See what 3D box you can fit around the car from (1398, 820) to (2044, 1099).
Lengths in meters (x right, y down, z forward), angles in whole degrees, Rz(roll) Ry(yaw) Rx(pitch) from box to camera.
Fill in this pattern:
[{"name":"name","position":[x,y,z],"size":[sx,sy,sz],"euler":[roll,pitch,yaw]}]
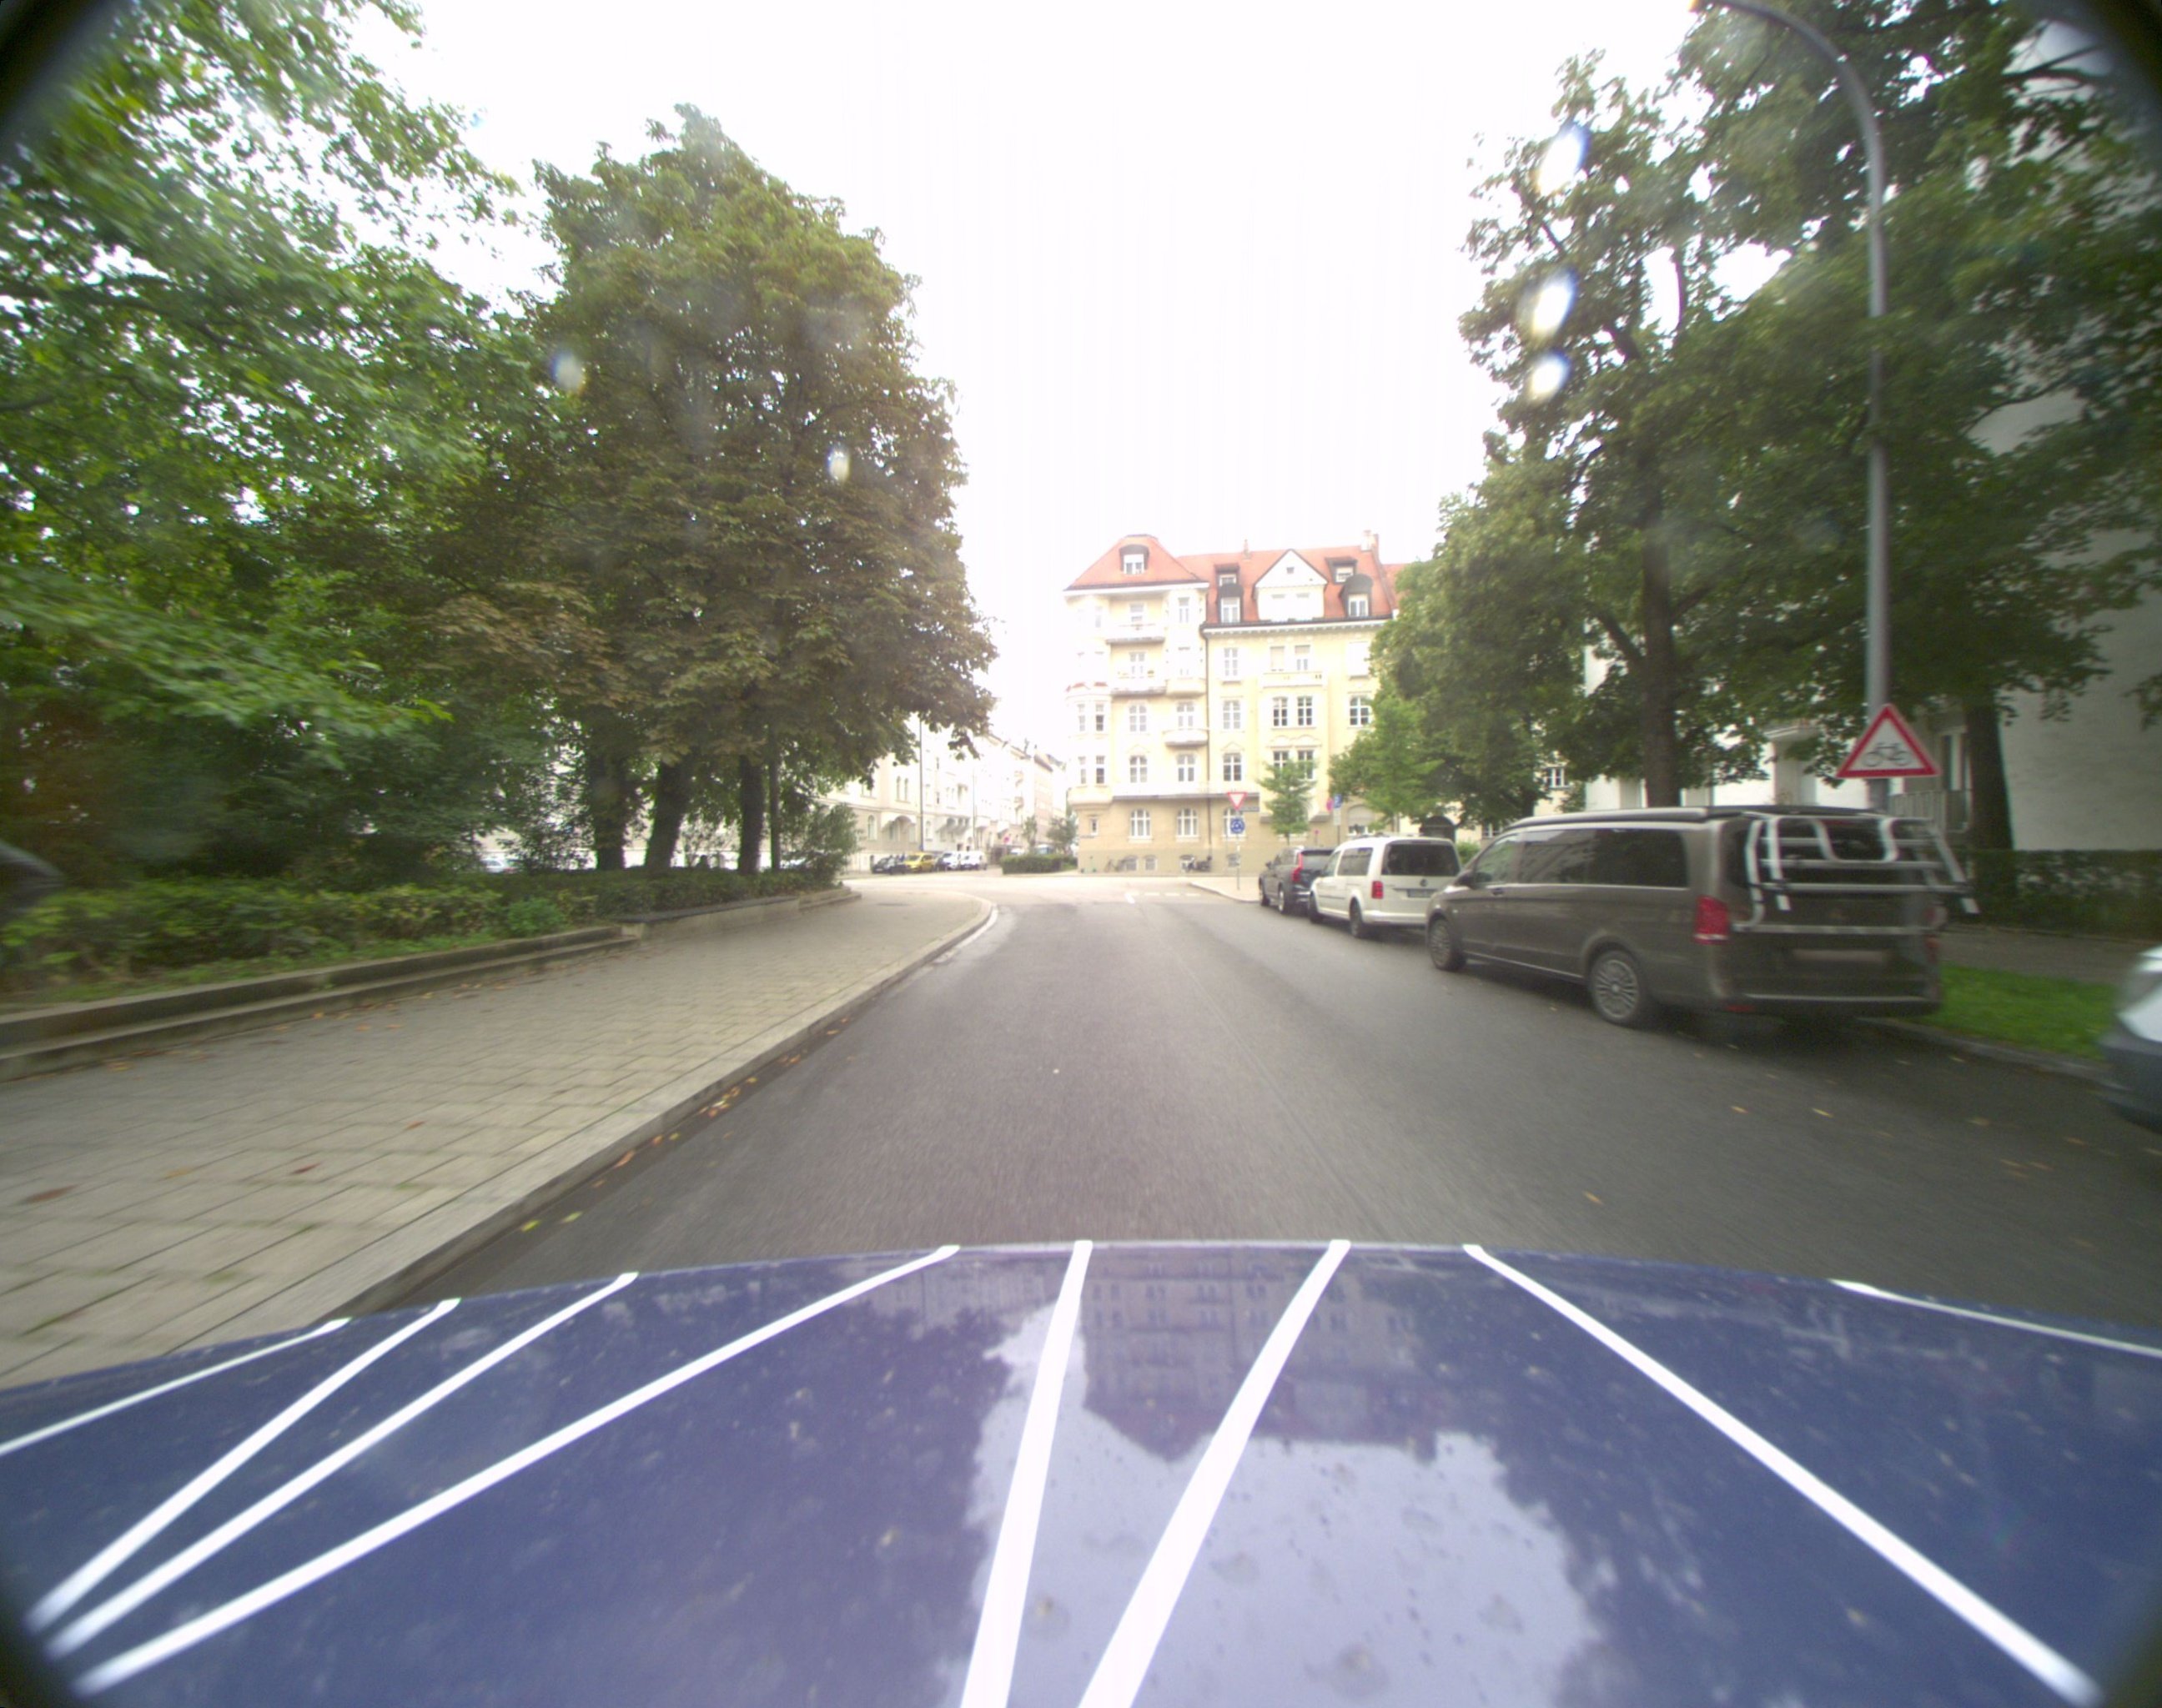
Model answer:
[{"name":"car","position":[5.592,0.714,8.071],"size":[2.031,1.897,5.666],"euler":[1,0,0]}]

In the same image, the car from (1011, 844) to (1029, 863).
[{"name":"car","position":[-8.898,-0.073,111.367],"size":[2.082,2.673,5.444],"euler":[1,1,1]}]

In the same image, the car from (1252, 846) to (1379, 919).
[{"name":"car","position":[6.078,0.653,20.411],"size":[2.088,1.709,5.306],"euler":[0,0,4]}]

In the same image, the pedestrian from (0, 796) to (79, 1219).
[{"name":"pedestrian","position":[-5.023,0.665,3.058],"size":[0.823,1.825,0.950],"euler":[-1,1,-26]}]

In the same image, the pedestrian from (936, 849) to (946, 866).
[{"name":"pedestrian","position":[-15.740,0.362,85.343],"size":[0.853,1.892,0.746],"euler":[0,1,12]}]

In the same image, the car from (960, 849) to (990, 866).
[{"name":"car","position":[-11.988,0.339,86.265],"size":[1.997,1.907,4.881],"euler":[0,0,9]}]

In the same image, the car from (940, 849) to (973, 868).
[{"name":"car","position":[-12.937,0.430,79.184],"size":[1.997,1.907,4.889],"euler":[0,0,9]}]

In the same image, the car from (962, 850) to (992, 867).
[{"name":"car","position":[-10.353,0.407,75.665],"size":[1.918,1.648,4.603],"euler":[0,0,6]}]

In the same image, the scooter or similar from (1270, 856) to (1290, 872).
[{"name":"scooter or similar","position":[13.286,0.662,50.641],"size":[1.349,1.102,0.541],"euler":[-1,1,-37]}]

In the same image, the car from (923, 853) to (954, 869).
[{"name":"car","position":[-13.781,0.664,73.613],"size":[1.636,1.505,3.888],"euler":[-1,0,10]}]

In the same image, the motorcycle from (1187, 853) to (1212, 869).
[{"name":"motorcycle","position":[8.557,0.507,54.902],"size":[1.744,1.179,0.742],"euler":[-1,0,4]}]

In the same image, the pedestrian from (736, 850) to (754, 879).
[{"name":"pedestrian","position":[-21.057,0.669,47.598],"size":[0.931,1.790,0.997],"euler":[-1,1,-31]}]

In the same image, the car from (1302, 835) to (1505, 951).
[{"name":"car","position":[5.990,0.632,14.878],"size":[2.088,1.892,4.859],"euler":[0,0,2]}]

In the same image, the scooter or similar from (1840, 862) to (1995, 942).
[{"name":"scooter or similar","position":[13.610,0.742,12.444],"size":[0.703,1.184,1.657],"euler":[0,1,0]}]

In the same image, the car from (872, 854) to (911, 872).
[{"name":"car","position":[-15.570,0.744,62.736],"size":[1.715,1.437,3.830],"euler":[0,0,9]}]

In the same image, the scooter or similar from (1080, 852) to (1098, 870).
[{"name":"scooter or similar","position":[0.592,0.508,55.891],"size":[1.284,1.264,0.458],"euler":[-1,1,-10]}]

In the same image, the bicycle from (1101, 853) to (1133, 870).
[{"name":"bicycle","position":[2.642,0.527,55.852],"size":[2.337,1.196,0.699],"euler":[-1,0,3]}]

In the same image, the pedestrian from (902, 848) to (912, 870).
[{"name":"pedestrian","position":[-16.270,0.439,70.993],"size":[0.584,2.002,0.728],"euler":[0,1,11]}]

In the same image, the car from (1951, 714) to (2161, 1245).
[{"name":"car","position":[5.572,0.563,1.166],"size":[2.088,2.251,5.603],"euler":[1,0,2]}]

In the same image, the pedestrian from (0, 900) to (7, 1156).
[{"name":"pedestrian","position":[-5.853,0.758,3.563],"size":[0.636,1.657,0.696],"euler":[-1,1,-21]}]

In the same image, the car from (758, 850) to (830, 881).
[{"name":"car","position":[-18.375,0.687,48.938],"size":[1.942,1.911,5.378],"euler":[1,0,8]}]

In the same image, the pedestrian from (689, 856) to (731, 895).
[{"name":"pedestrian","position":[-12.986,0.736,26.593],"size":[0.770,1.349,1.132],"euler":[0,1,10]}]

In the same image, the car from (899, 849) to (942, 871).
[{"name":"car","position":[-14.399,0.501,68.420],"size":[1.996,1.907,4.575],"euler":[0,0,13]}]

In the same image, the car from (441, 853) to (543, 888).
[{"name":"car","position":[-31.463,0.855,40.645],"size":[4.244,1.785,1.894],"euler":[0,1,8]}]
